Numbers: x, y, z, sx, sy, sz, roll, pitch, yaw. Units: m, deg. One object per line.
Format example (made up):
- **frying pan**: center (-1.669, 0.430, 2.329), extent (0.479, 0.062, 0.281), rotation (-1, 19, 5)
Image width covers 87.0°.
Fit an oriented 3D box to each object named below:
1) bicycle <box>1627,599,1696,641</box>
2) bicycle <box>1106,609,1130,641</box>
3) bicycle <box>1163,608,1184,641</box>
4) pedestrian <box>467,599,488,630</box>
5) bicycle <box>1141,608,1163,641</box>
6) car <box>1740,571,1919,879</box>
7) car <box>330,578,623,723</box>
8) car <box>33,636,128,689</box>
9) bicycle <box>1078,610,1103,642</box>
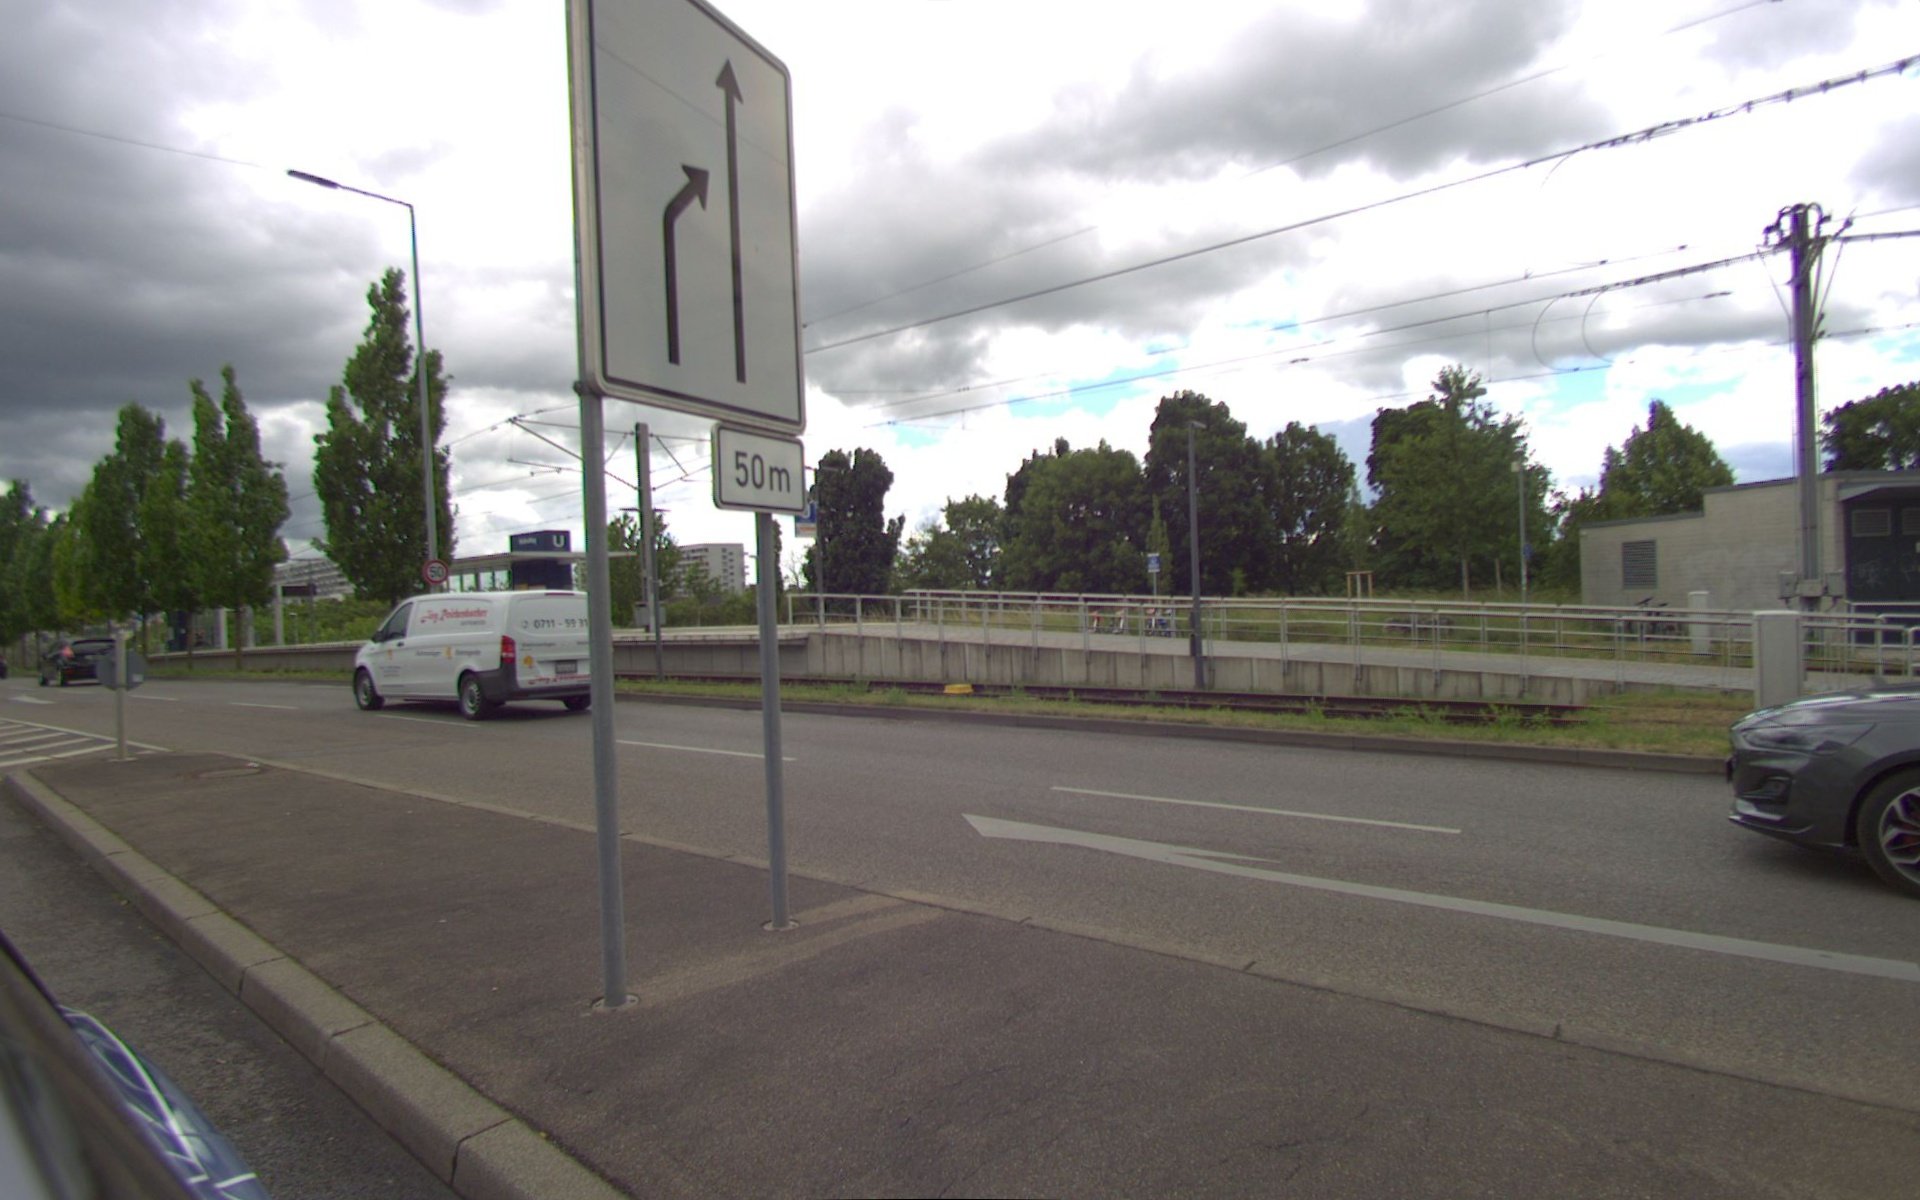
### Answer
- **bicycle**: center (18.074, 0.503, 26.110), extent (0.529, 1.039, 1.813), rotation (-1, 0, 1)
- **bicycle**: center (5.389, 0.844, 34.446), extent (0.531, 1.039, 1.804), rotation (-1, 0, 16)
- **bicycle**: center (7.118, 0.806, 33.667), extent (0.531, 1.039, 1.804), rotation (-1, 0, 16)
- **pedestrian**: center (-18.133, 0.531, 38.024), extent (0.447, 1.163, 0.593), rotation (-1, 0, 41)
- **bicycle**: center (6.445, 0.818, 33.993), extent (0.531, 1.039, 1.804), rotation (-1, 0, 16)
- **car**: center (6.241, 0.560, 4.374), extent (4.431, 1.435, 1.850), rotation (-1, 0, 42)
- **car**: center (-7.848, 0.706, 16.179), extent (5.362, 1.979, 1.898), rotation (-1, 0, 36)
- **car**: center (-26.739, 1.845, 30.743), extent (3.658, 1.460, 1.678), rotation (-2, -1, 41)
- **bicycle**: center (4.498, 0.879, 34.809), extent (0.531, 1.039, 1.804), rotation (-1, 0, 16)
